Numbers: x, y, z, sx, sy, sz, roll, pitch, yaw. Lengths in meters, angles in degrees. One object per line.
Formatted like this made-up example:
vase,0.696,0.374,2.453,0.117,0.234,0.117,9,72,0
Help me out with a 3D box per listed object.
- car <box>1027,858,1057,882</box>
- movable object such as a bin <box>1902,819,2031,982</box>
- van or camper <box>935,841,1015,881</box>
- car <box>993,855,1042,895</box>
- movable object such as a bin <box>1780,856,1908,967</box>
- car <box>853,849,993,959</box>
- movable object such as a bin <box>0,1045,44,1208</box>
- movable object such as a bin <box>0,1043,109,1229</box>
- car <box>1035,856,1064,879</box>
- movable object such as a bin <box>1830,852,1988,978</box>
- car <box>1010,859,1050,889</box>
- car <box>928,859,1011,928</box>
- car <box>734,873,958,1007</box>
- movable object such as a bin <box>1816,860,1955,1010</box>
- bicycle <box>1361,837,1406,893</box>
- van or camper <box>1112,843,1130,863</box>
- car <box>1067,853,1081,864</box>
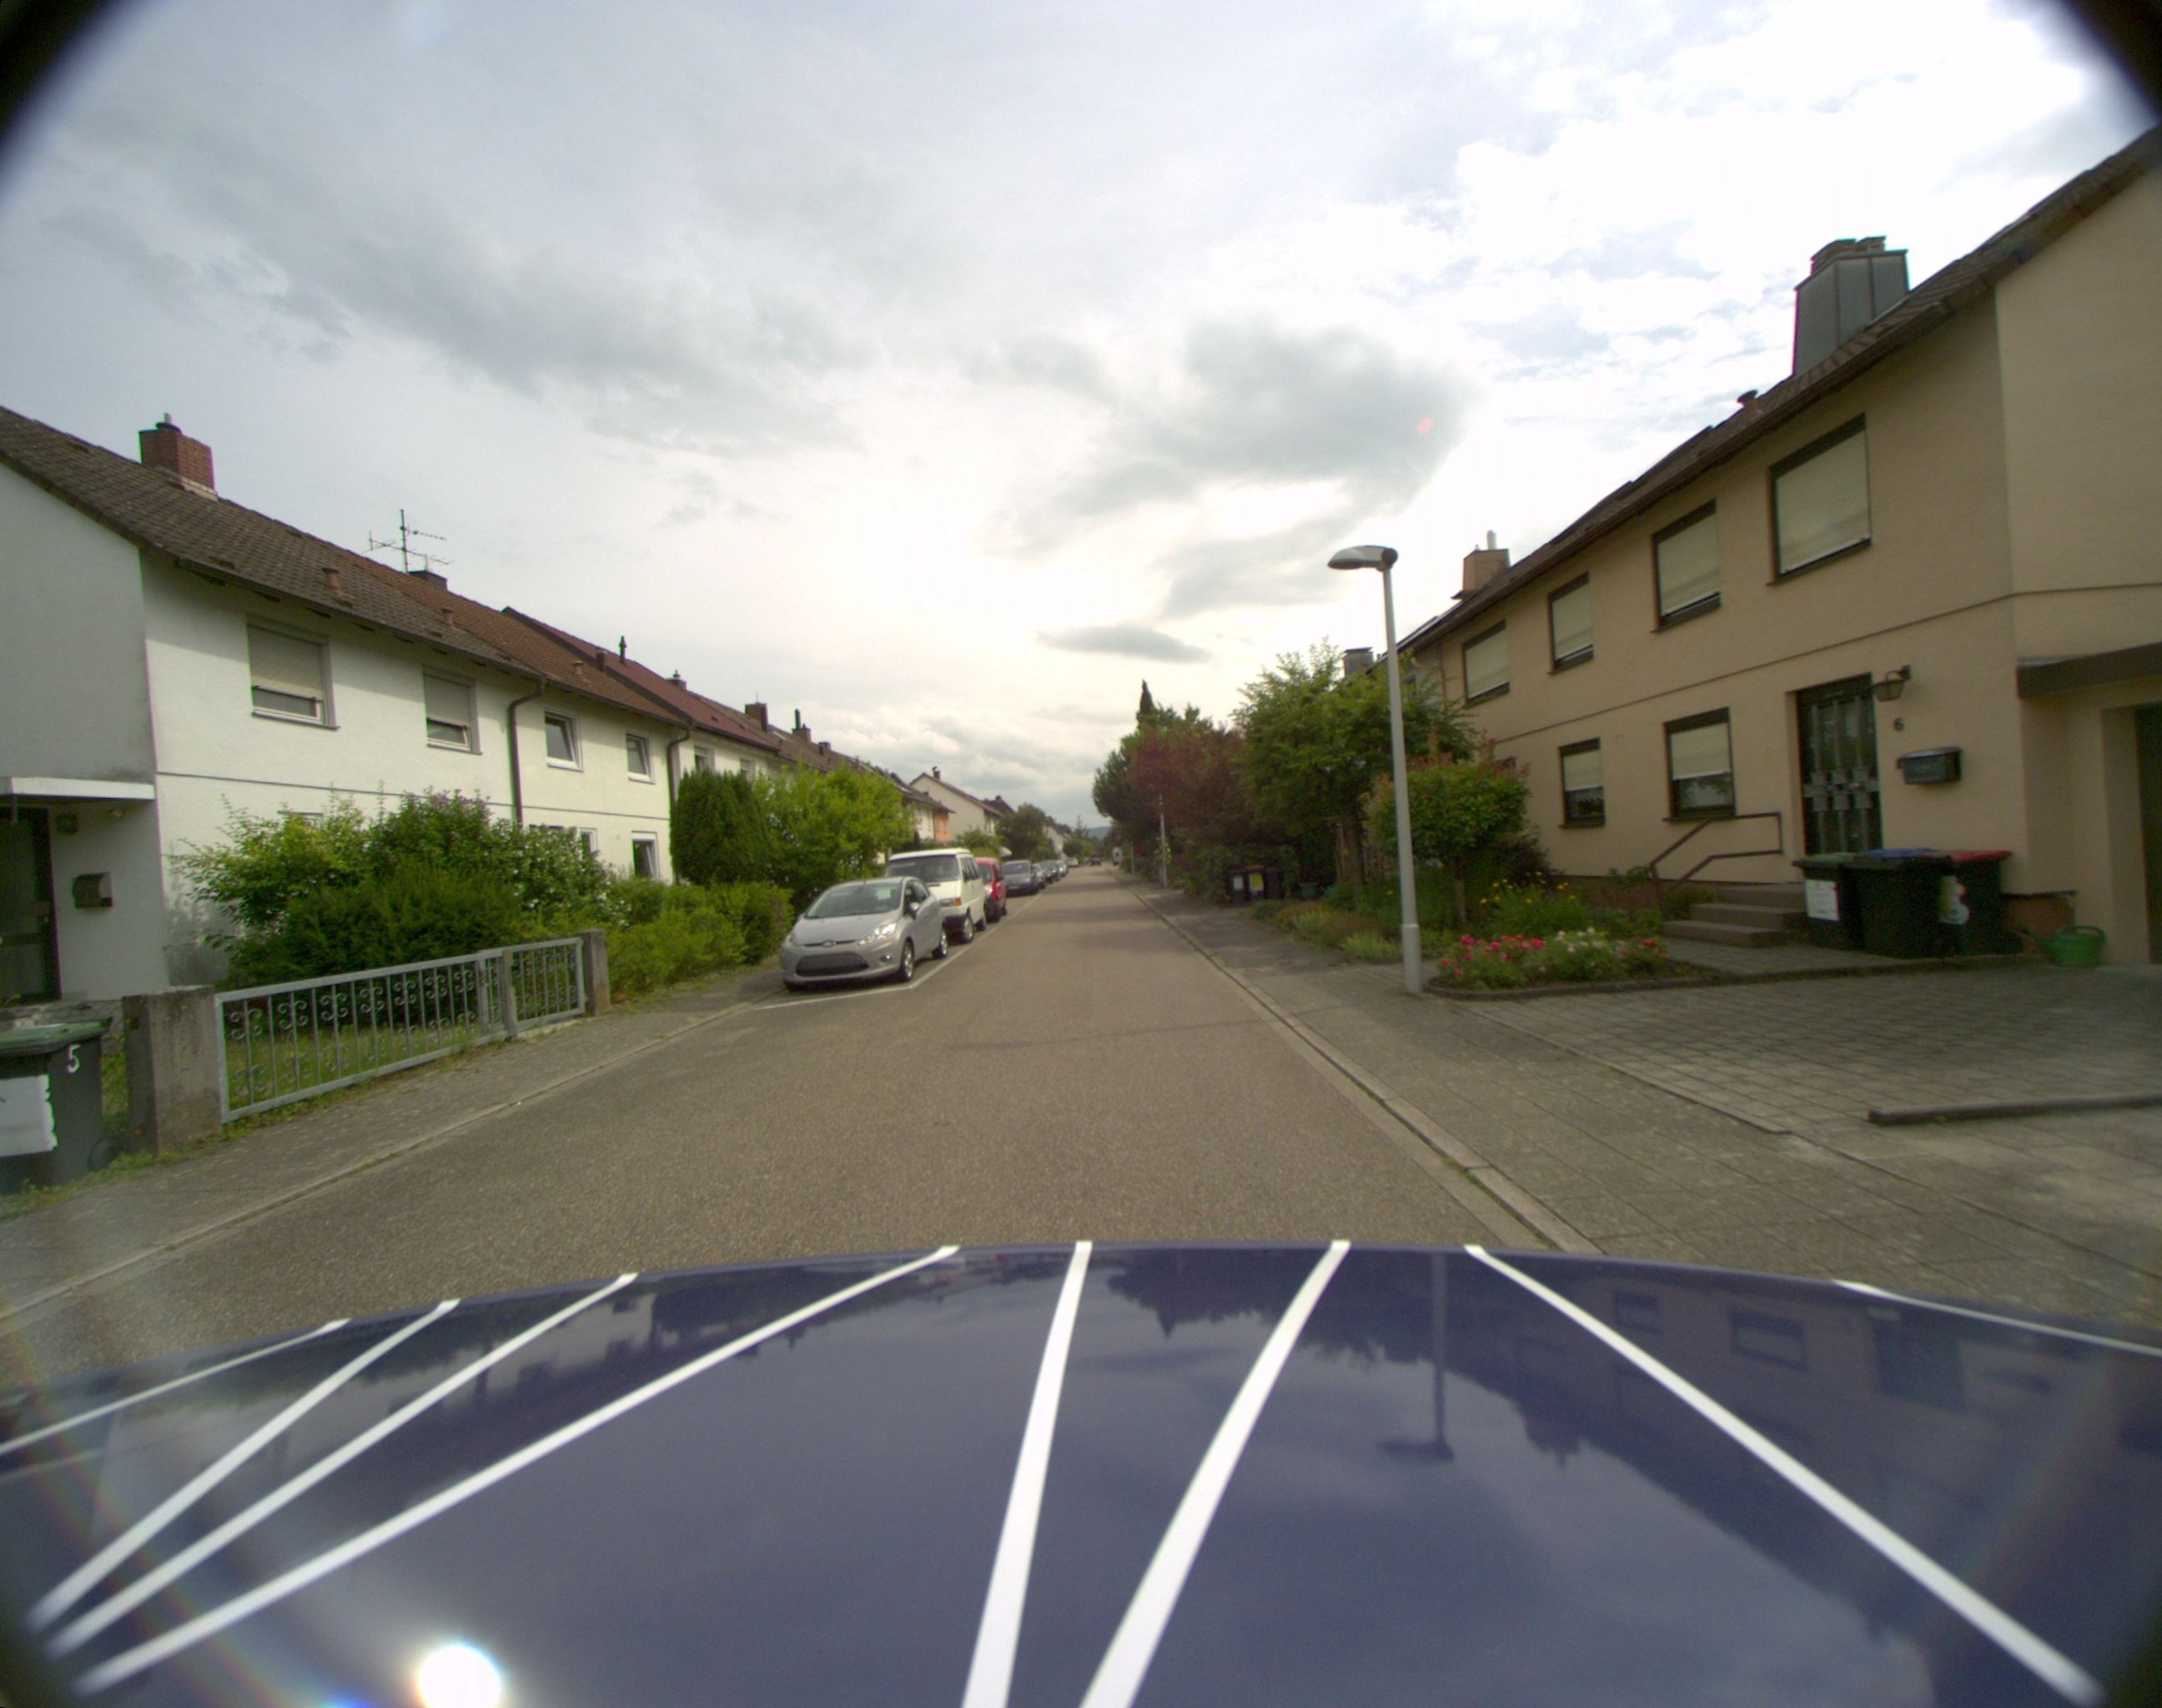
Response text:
car,-2.543,1.006,50.001,1.737,1.419,4.125,-4,0,-1
movable object such as a bin,7.885,0.400,6.787,0.411,1.377,0.610,-3,1,1
van or camper,-8.339,0.526,60.393,5.813,2.801,2.537,-3,0,0
car,-2.912,0.920,35.697,1.872,1.644,4.463,-4,0,-1
movable object such as a bin,7.299,0.536,7.288,0.654,0.997,0.542,-3,1,1
car,-3.208,0.936,16.528,2.026,1.936,4.747,-3,0,-1
movable object such as a bin,-6.584,1.638,4.397,0.432,0.916,0.465,-5,1,-4
movable object such as a bin,-6.076,1.603,4.351,0.408,0.916,0.421,-3,1,-4
car,-2.271,0.971,55.654,1.753,1.458,4.648,-4,0,1
movable object such as a bin,7.347,0.520,6.770,0.654,1.015,0.633,-5,1,1
car,-2.770,1.067,42.138,1.872,1.399,4.767,-5,0,-1
car,-3.033,1.026,21.526,1.815,1.641,4.409,-3,0,-2
car,-3.234,1.115,11.425,1.905,1.451,4.129,-3,0,2
movable object such as a bin,7.884,0.765,7.473,0.654,1.377,0.633,-3,1,1
bicycle,7.860,0.270,19.811,0.432,1.387,1.848,-3,0,2
van or camper,5.821,-0.158,111.020,2.346,2.719,5.748,-4,0,2
car,-1.161,0.706,120.784,1.999,1.589,3.999,-4,0,-2
